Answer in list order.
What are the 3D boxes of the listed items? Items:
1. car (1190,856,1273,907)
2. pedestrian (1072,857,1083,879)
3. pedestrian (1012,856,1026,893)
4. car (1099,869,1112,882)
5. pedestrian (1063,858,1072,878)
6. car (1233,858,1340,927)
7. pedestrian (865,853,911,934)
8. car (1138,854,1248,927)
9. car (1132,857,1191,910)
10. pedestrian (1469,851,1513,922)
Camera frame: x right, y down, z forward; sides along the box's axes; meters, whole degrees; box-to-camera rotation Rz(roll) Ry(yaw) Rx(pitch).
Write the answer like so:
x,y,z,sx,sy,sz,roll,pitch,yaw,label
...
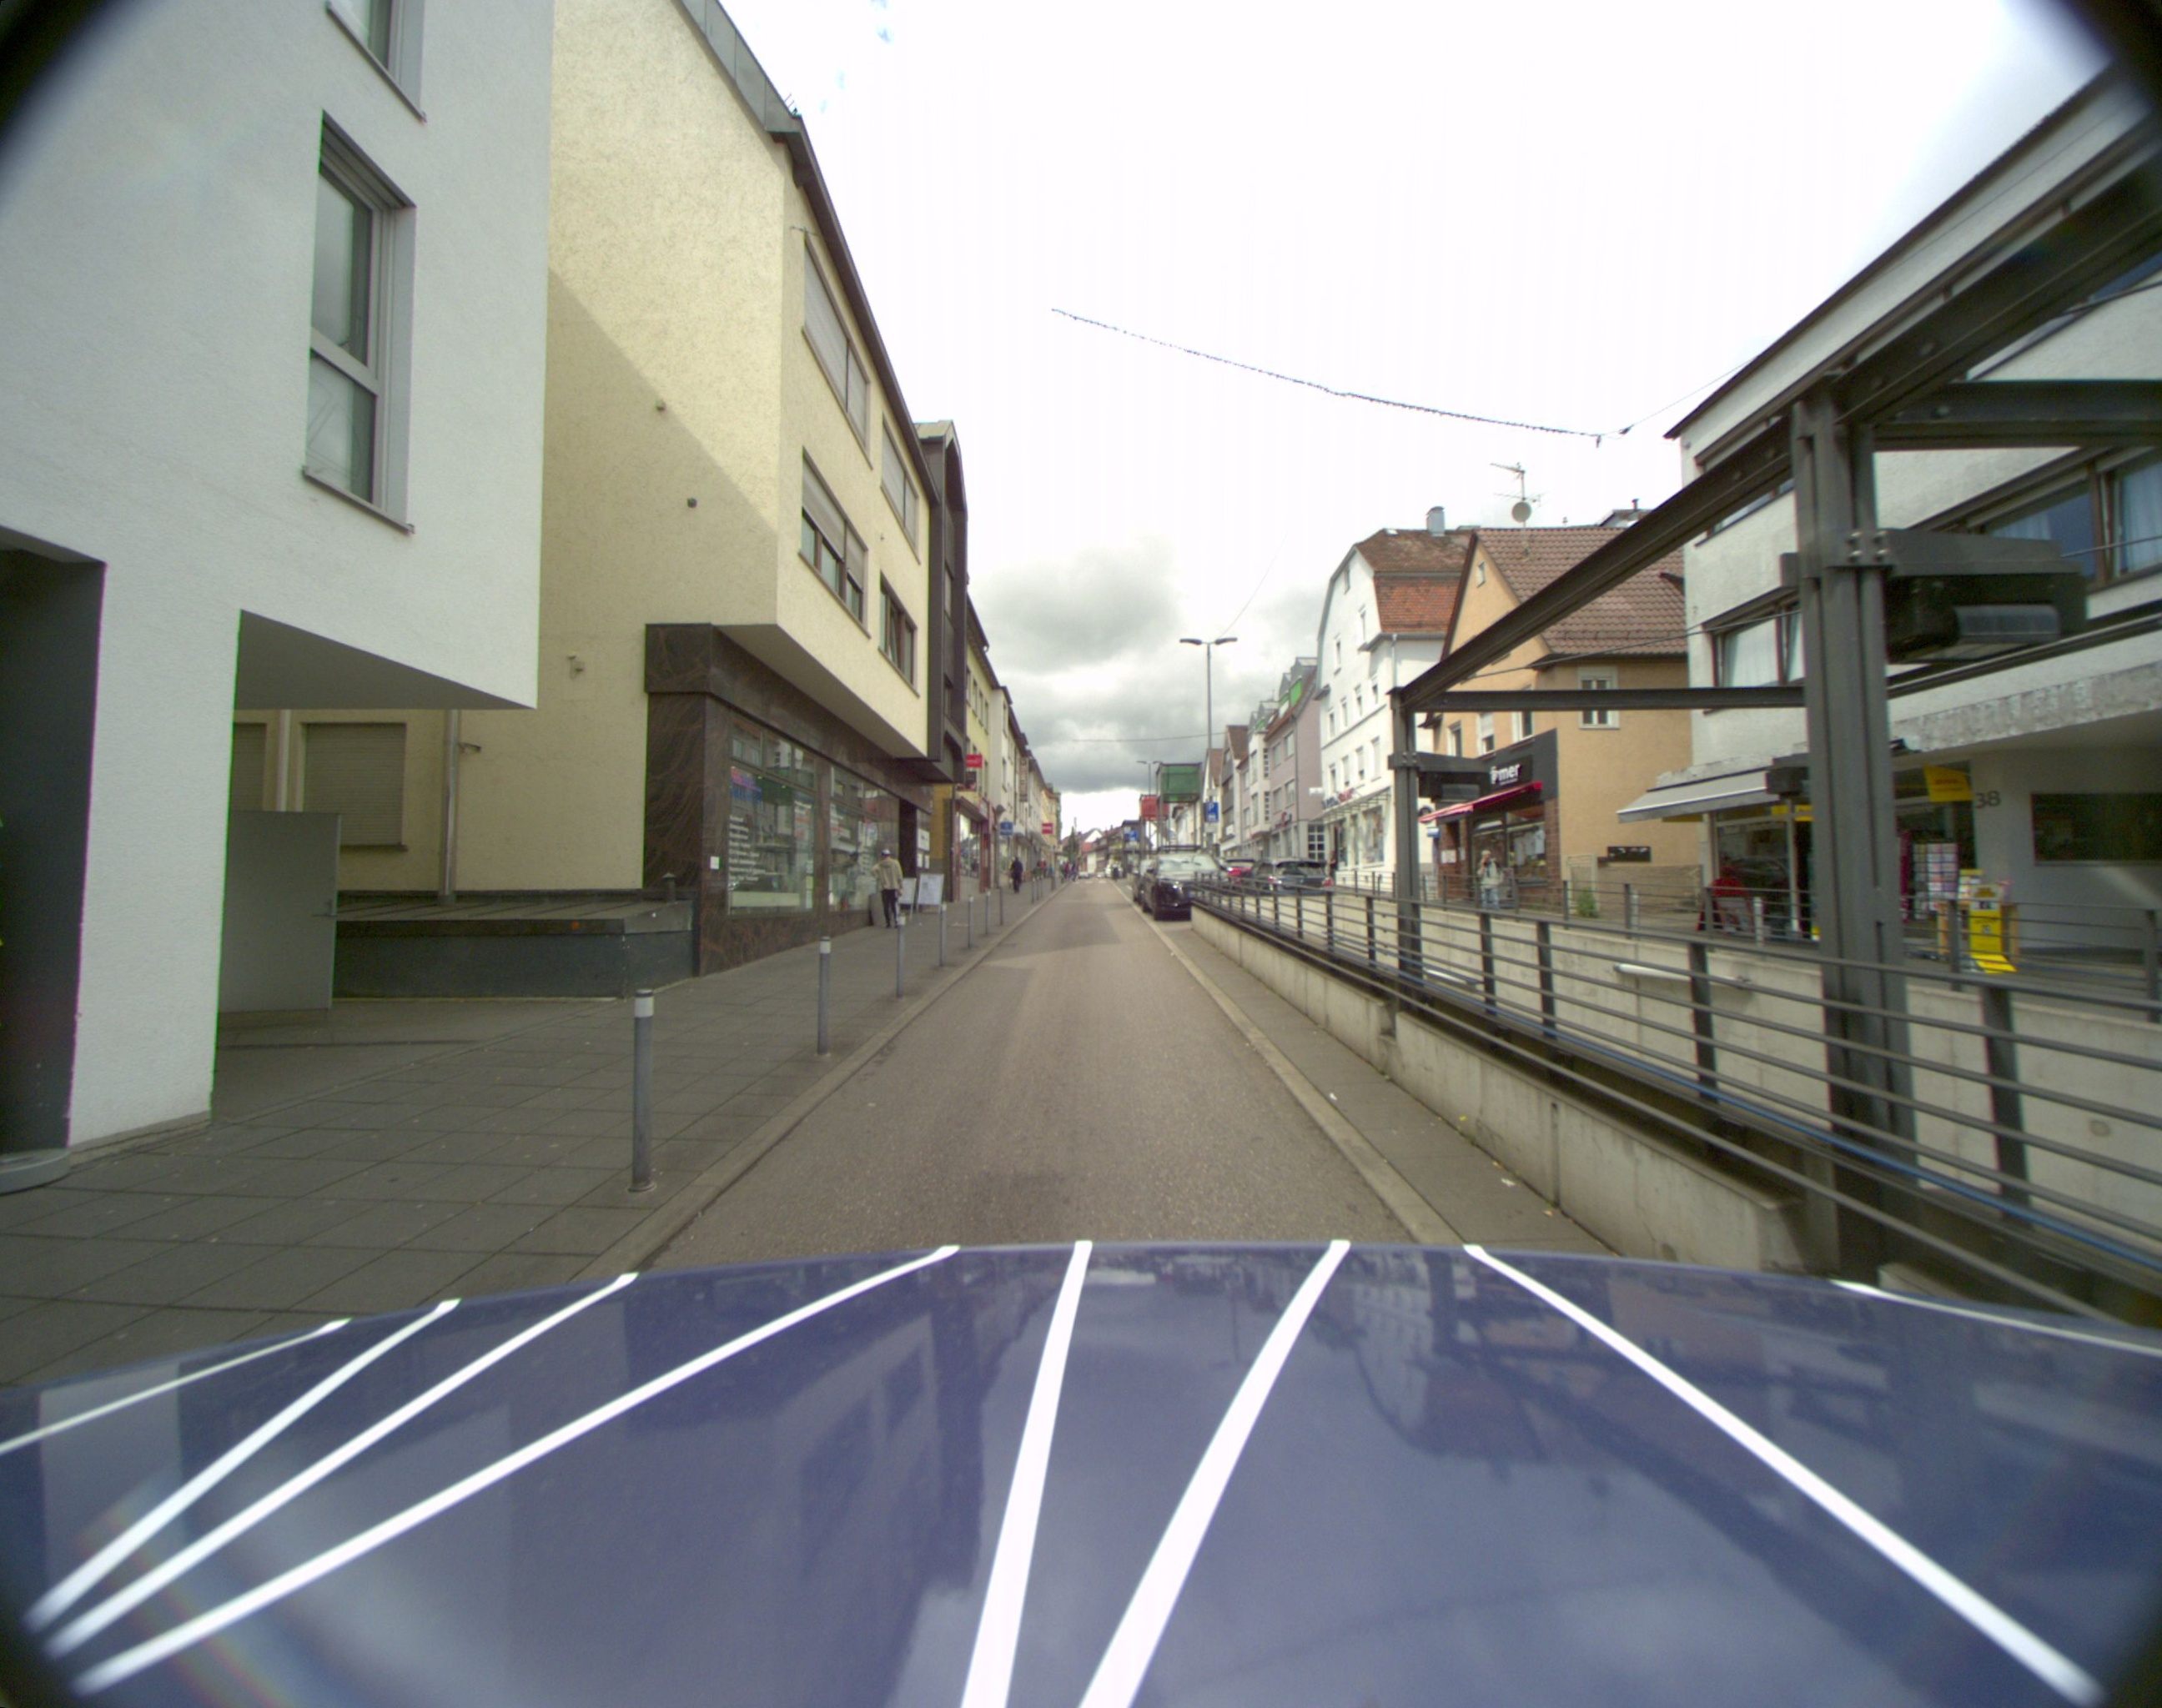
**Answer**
x,y,z,sx,sy,sz,roll,pitch,yaw,label
5.155,0.895,26.630,1.998,1.580,4.495,-2,0,1,car
-0.306,1.101,59.674,0.761,1.764,0.851,0,0,-6,pedestrian
-2.864,0.938,35.050,0.639,1.689,0.708,0,0,-5,pedestrian
3.915,3.512,122.807,1.998,2.002,4.000,-1,0,1,car
-1.052,1.089,58.781,0.663,1.519,0.705,0,0,-6,pedestrian
5.166,0.915,19.605,1.703,1.538,3.899,-2,0,1,car
-4.137,0.837,16.325,0.760,1.663,0.780,2,0,-2,pedestrian
2.678,0.830,19.252,1.999,1.557,4.431,-2,0,-1,car
2.626,0.938,25.448,1.577,1.600,3.533,-2,0,1,car
10.103,0.793,18.747,0.748,1.704,0.664,0,0,1,pedestrian
